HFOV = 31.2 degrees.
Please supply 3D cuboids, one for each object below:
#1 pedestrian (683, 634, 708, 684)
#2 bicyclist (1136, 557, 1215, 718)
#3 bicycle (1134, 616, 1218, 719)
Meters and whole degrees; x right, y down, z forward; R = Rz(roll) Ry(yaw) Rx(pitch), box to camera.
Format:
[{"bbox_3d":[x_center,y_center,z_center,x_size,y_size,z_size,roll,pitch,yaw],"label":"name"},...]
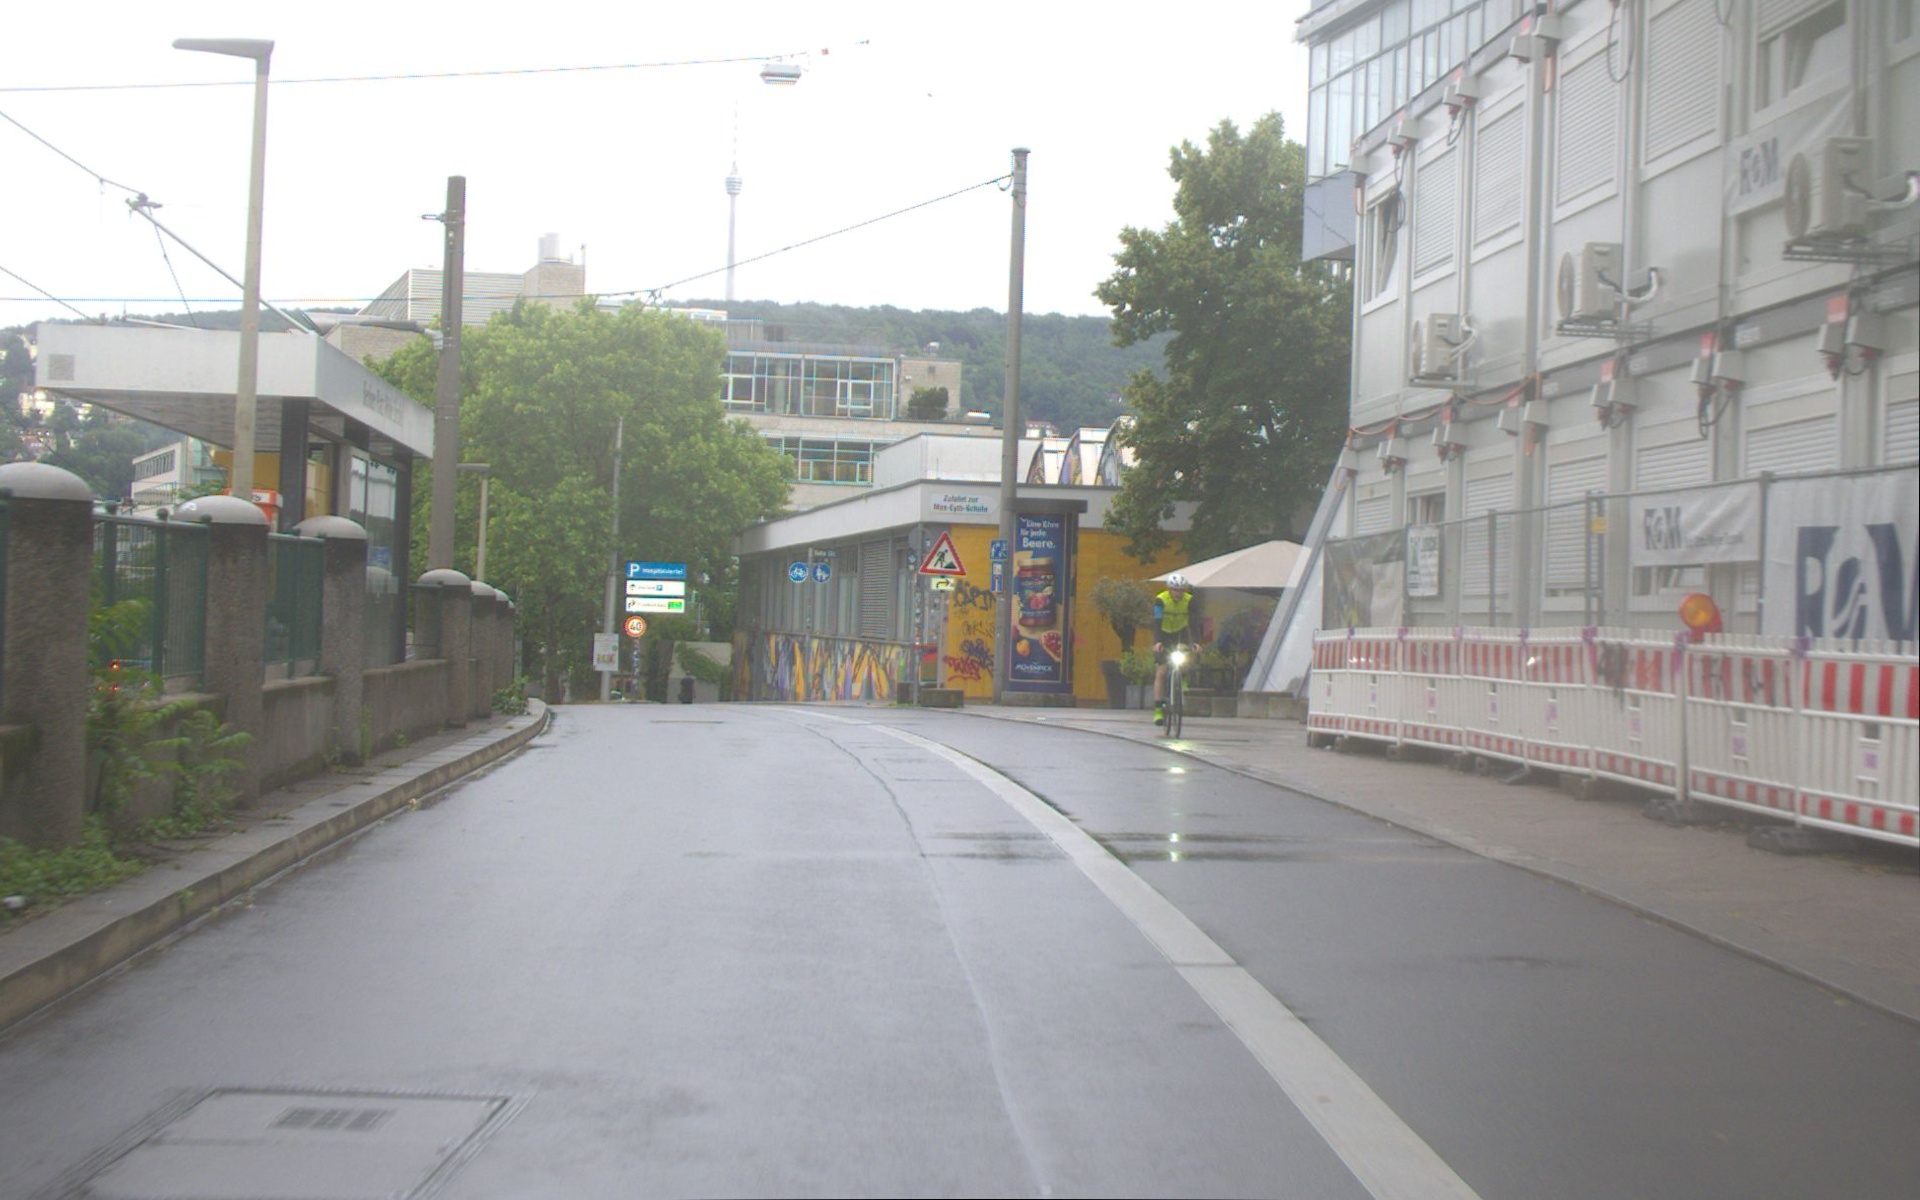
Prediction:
[{"bbox_3d":[-9.908,2.210,128.941,0.806,1.858,1.056,0,-2,-10],"label":"pedestrian"},{"bbox_3d":[2.255,0.391,36.032,0.661,1.633,0.793,-3,0,-3],"label":"bicyclist"},{"bbox_3d":[2.257,0.703,36.099,0.661,1.049,2.057,1,-1,-2],"label":"bicycle"}]
